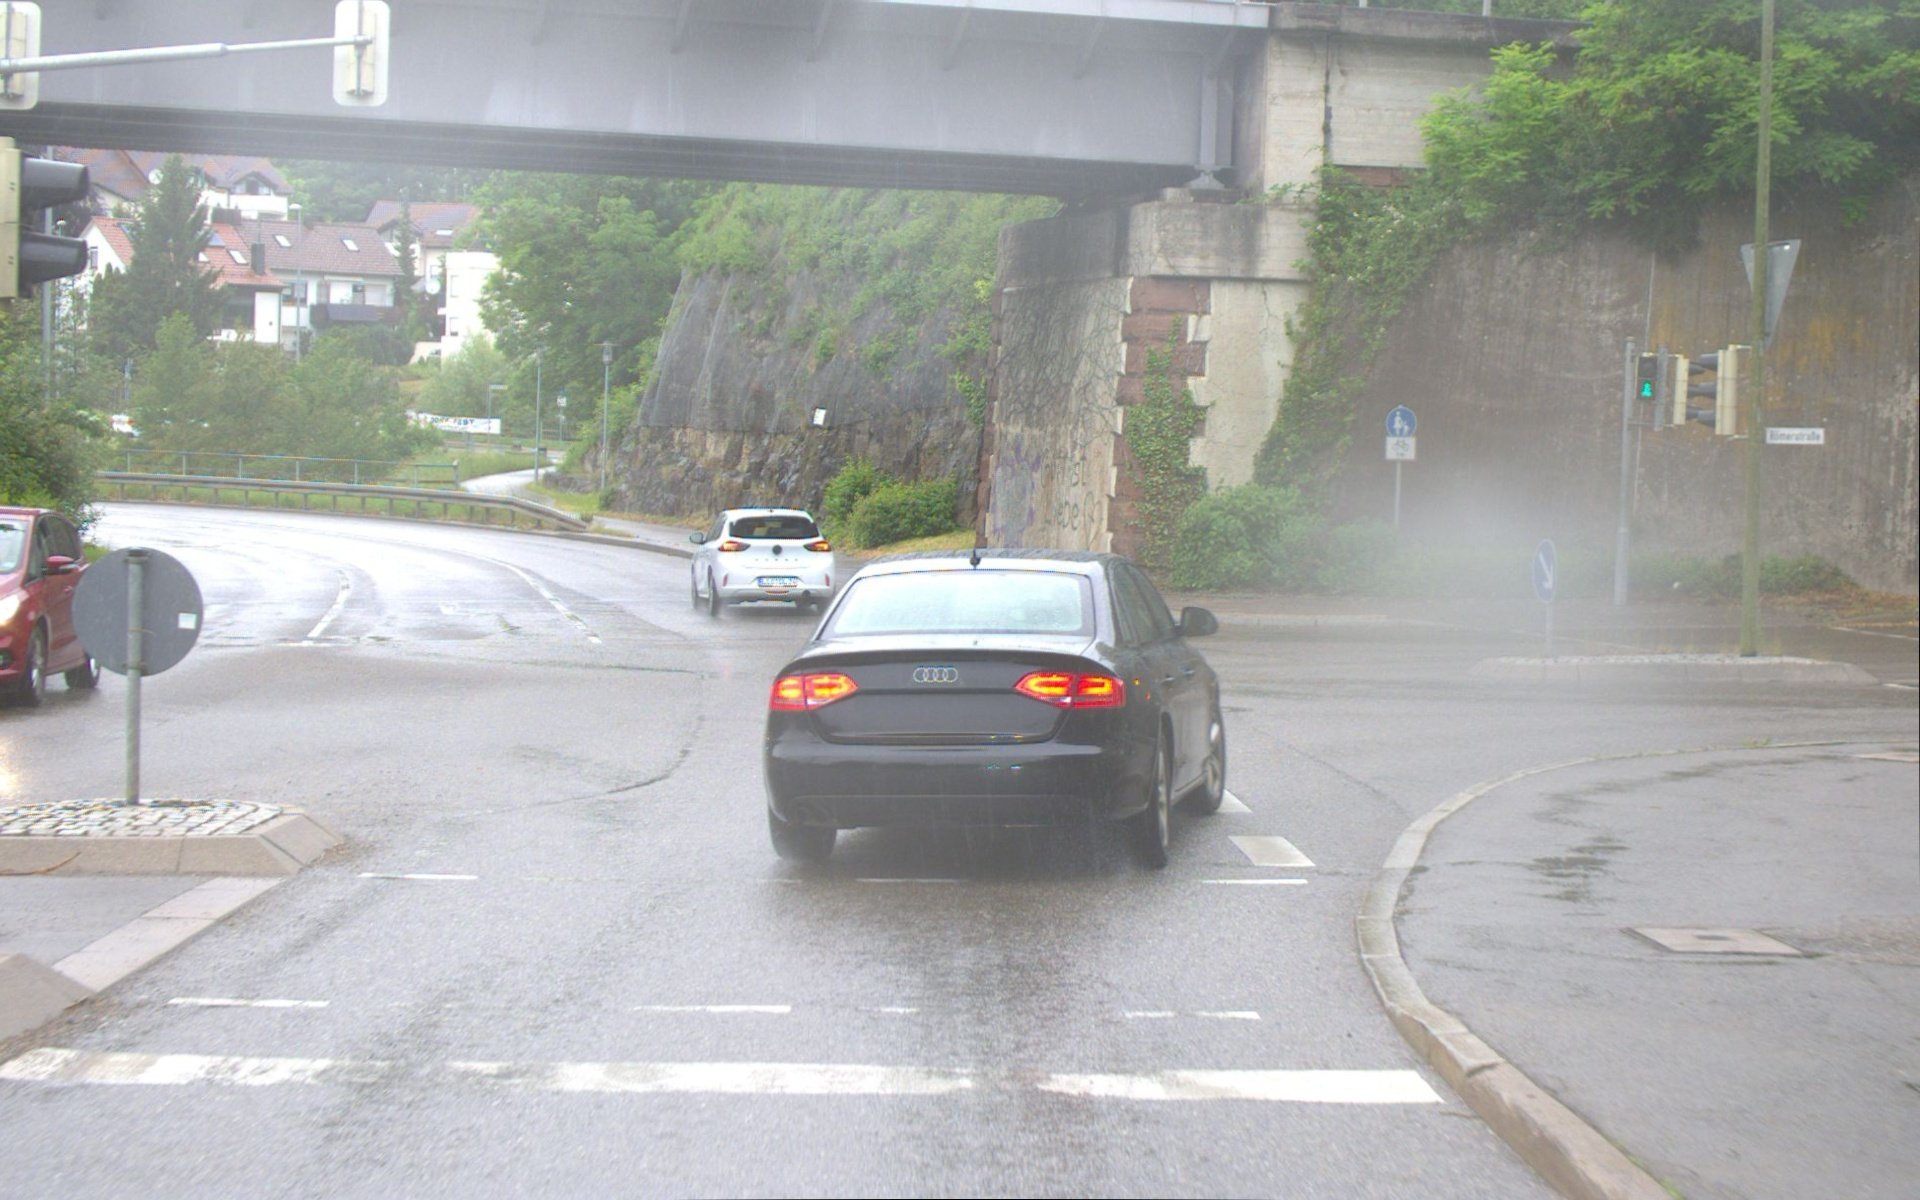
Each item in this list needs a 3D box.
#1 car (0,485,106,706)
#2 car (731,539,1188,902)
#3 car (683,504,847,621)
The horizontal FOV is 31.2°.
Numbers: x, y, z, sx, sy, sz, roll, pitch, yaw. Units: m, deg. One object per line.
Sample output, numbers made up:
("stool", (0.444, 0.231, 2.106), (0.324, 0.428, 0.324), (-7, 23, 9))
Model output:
("car", (-8.431, -0.080, 28.761), (1.896, 1.709, 4.683), (0, 1, -6))
("car", (0.120, 0.460, 16.323), (1.893, 1.487, 4.207), (0, 1, 3))
("car", (-2.756, -0.544, 47.862), (1.993, 1.557, 4.001), (0, 1, -7))
